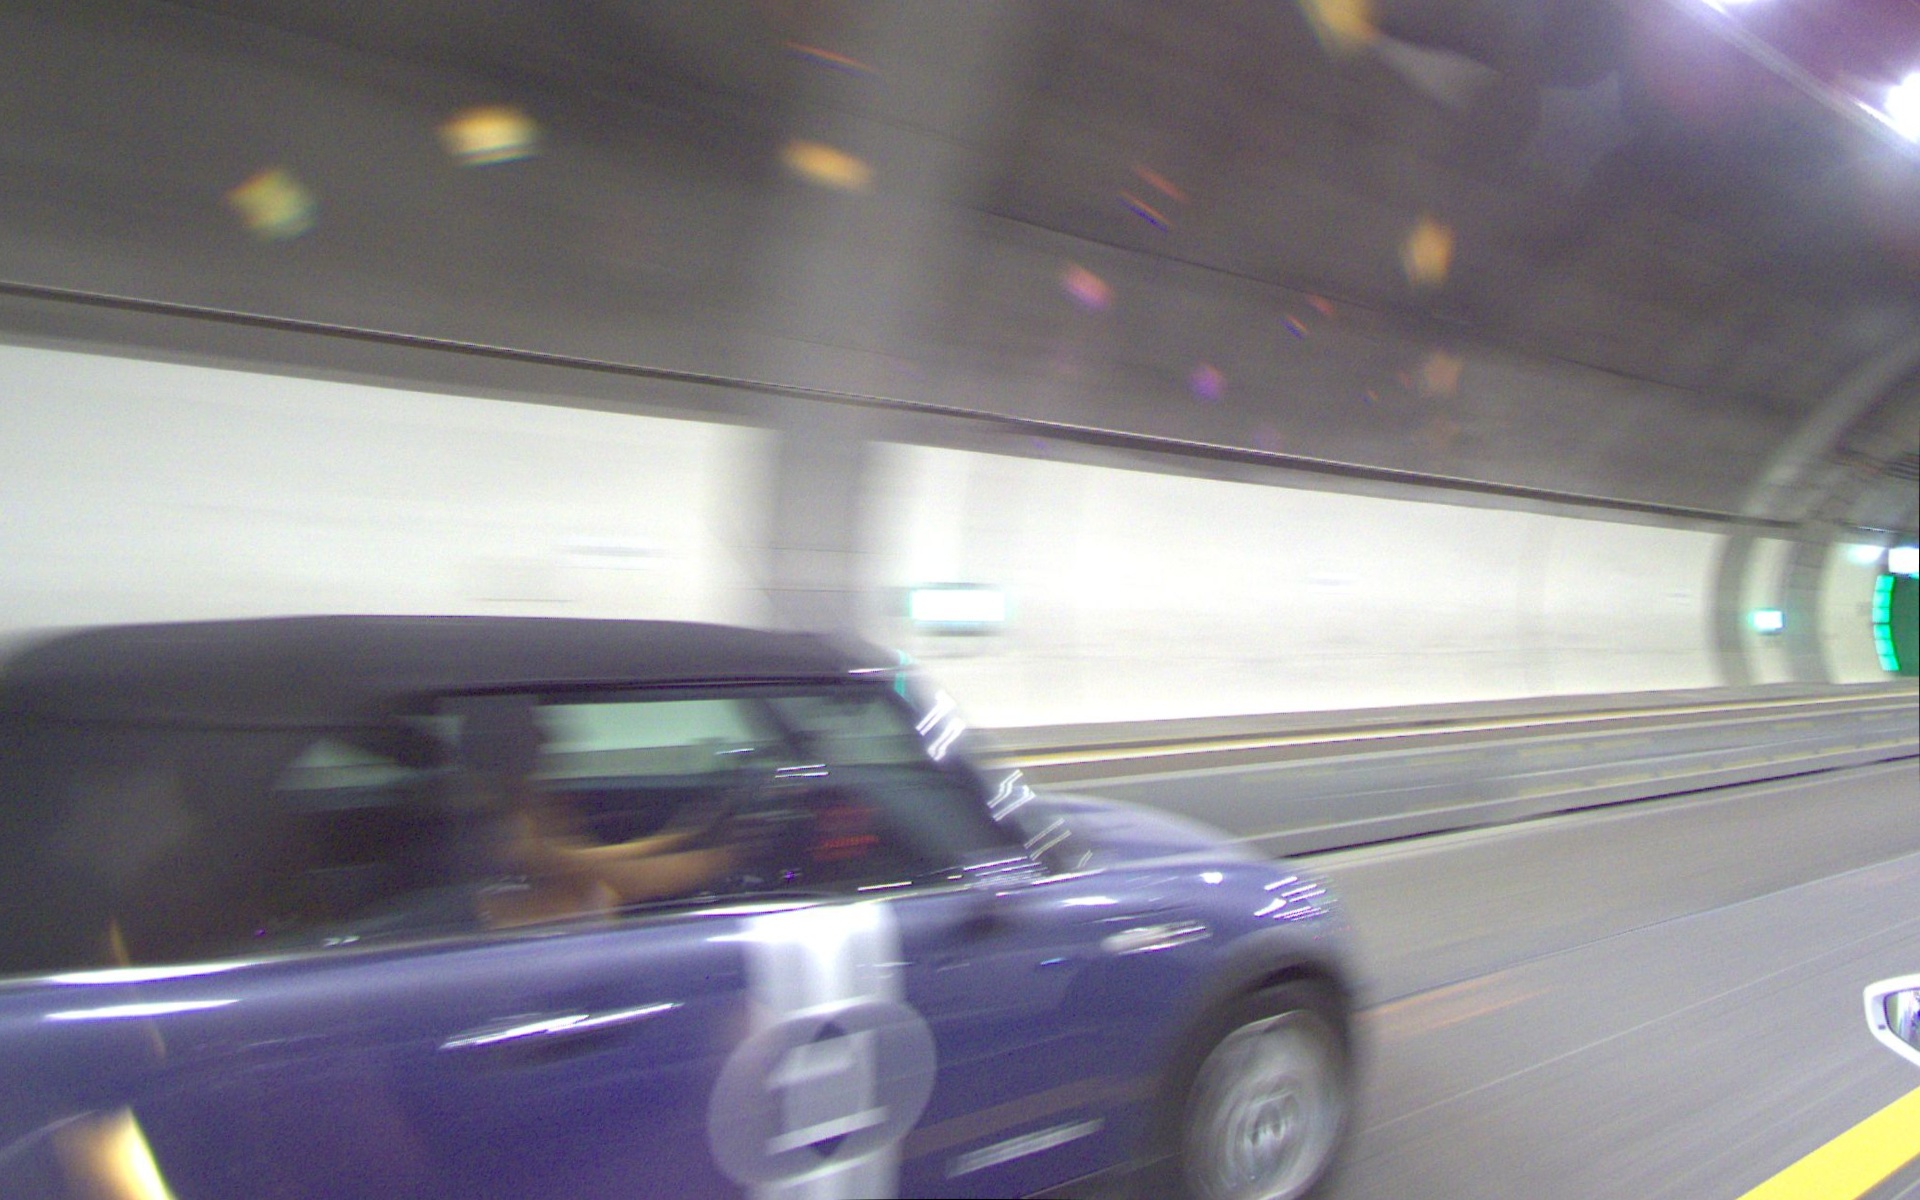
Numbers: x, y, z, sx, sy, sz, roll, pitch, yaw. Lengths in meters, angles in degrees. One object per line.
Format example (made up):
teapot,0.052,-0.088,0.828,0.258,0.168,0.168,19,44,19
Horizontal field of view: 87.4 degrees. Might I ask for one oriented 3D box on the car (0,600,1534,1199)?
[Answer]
car,-0.532,0.744,2.455,3.877,1.436,1.681,1,-1,-31
